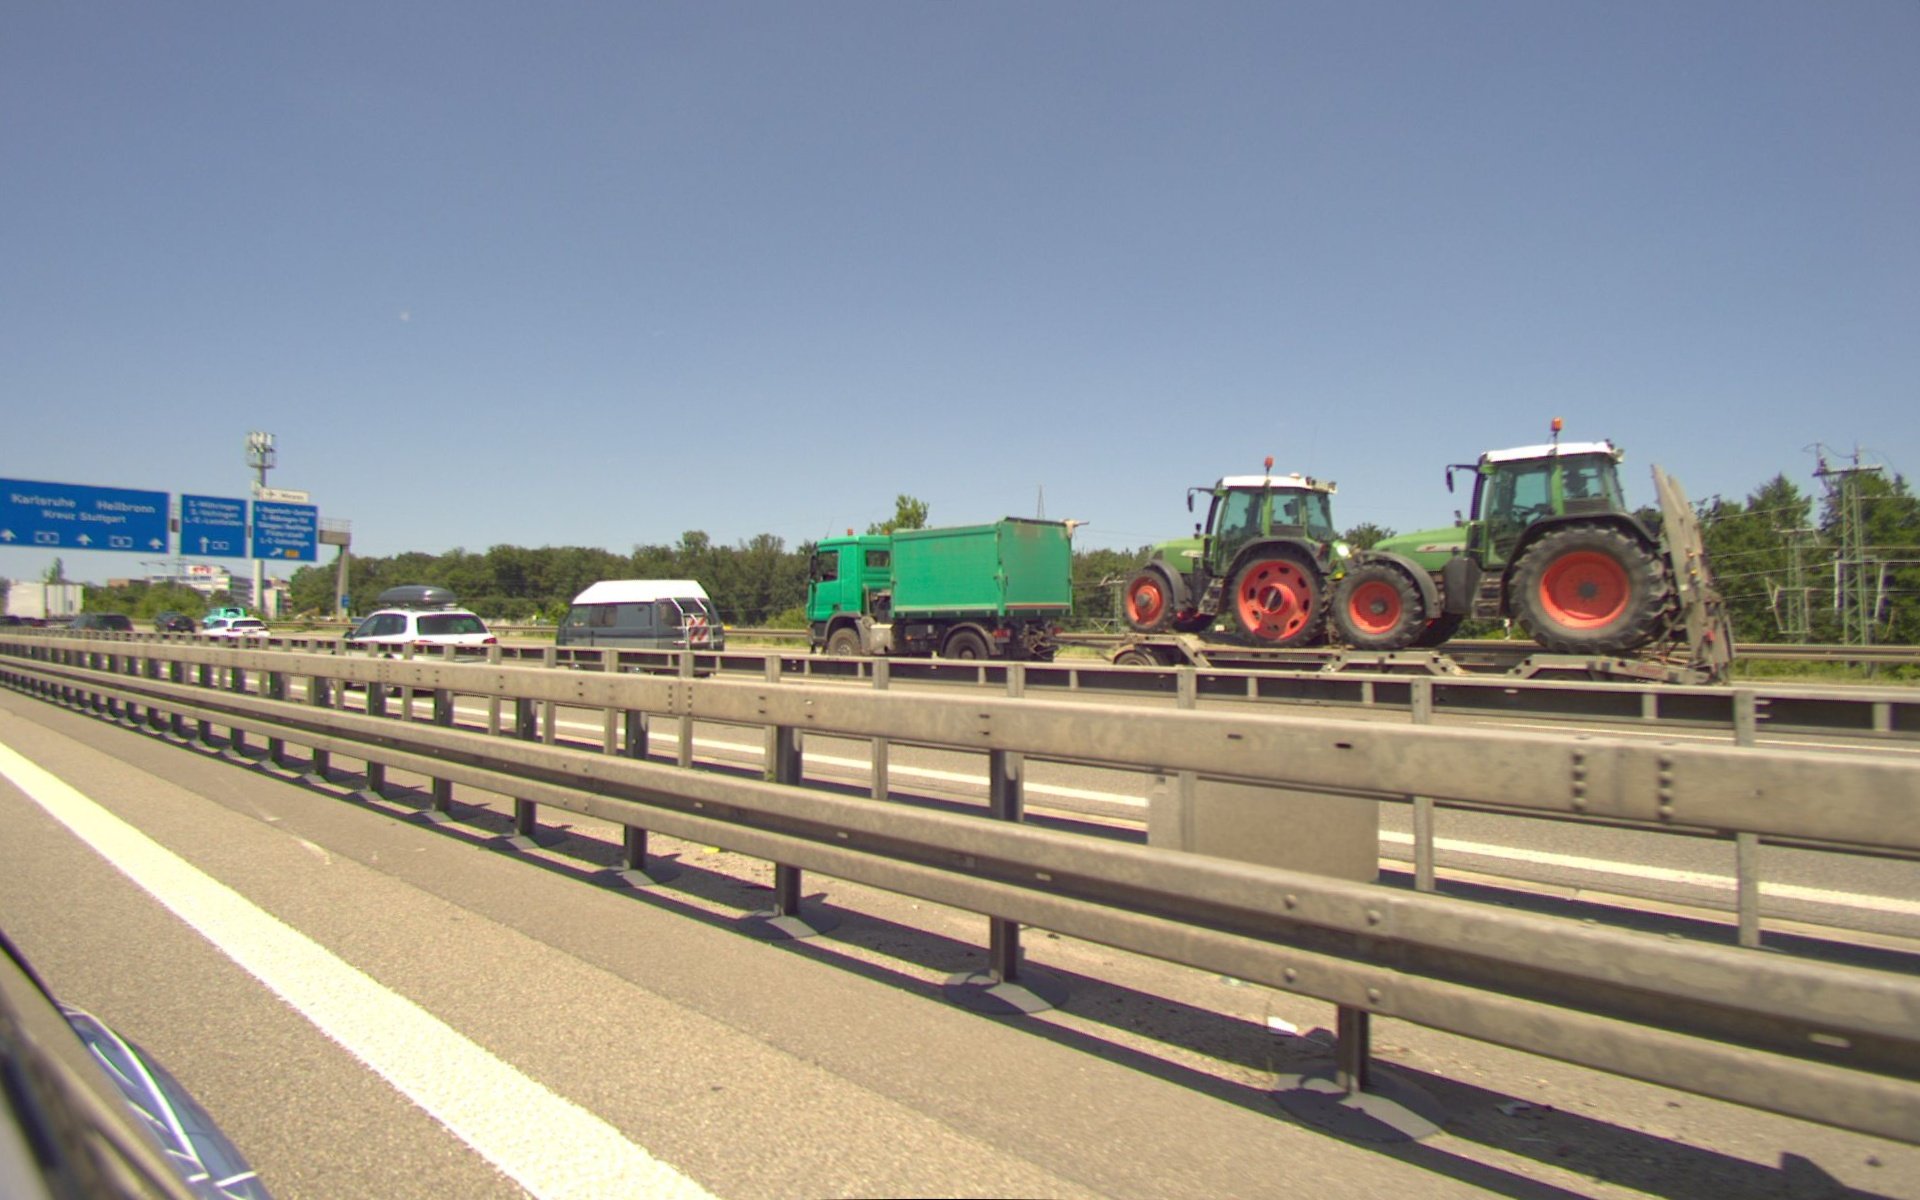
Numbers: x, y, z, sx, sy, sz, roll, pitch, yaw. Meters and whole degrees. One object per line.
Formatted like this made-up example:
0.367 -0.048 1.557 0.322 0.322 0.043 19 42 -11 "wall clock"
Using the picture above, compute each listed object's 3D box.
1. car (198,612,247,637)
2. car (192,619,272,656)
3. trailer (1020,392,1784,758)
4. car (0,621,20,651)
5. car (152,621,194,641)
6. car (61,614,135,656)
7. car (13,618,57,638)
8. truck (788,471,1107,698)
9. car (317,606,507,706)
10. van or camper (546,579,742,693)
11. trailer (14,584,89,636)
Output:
-58.470 1.917 80.234 5.157 1.929 1.995 -1 -1 40 "car"
-31.518 1.578 43.772 4.630 1.492 1.738 -1 -1 40 "car"
6.225 -0.305 16.565 11.196 4.277 2.730 0 0 41 "trailer"
-56.620 2.084 59.309 4.694 1.681 1.738 -1 -1 40 "car"
-59.258 2.334 76.175 4.451 1.436 1.678 -1 -1 40 "car"
-37.965 1.507 44.517 4.718 1.754 1.738 -1 -1 40 "car"
-69.680 2.078 76.195 4.993 1.471 1.823 -1 -1 40 "car"
-0.464 -0.297 22.361 6.972 4.277 2.731 0 0 40 "truck"
-11.272 1.042 20.679 4.836 1.811 1.789 -1 -1 40 "car"
-7.013 0.741 22.167 4.938 2.238 1.738 -1 -1 40 "van or camper"
-77.997 0.829 86.793 11.399 4.224 3.191 0 0 40 "trailer"
